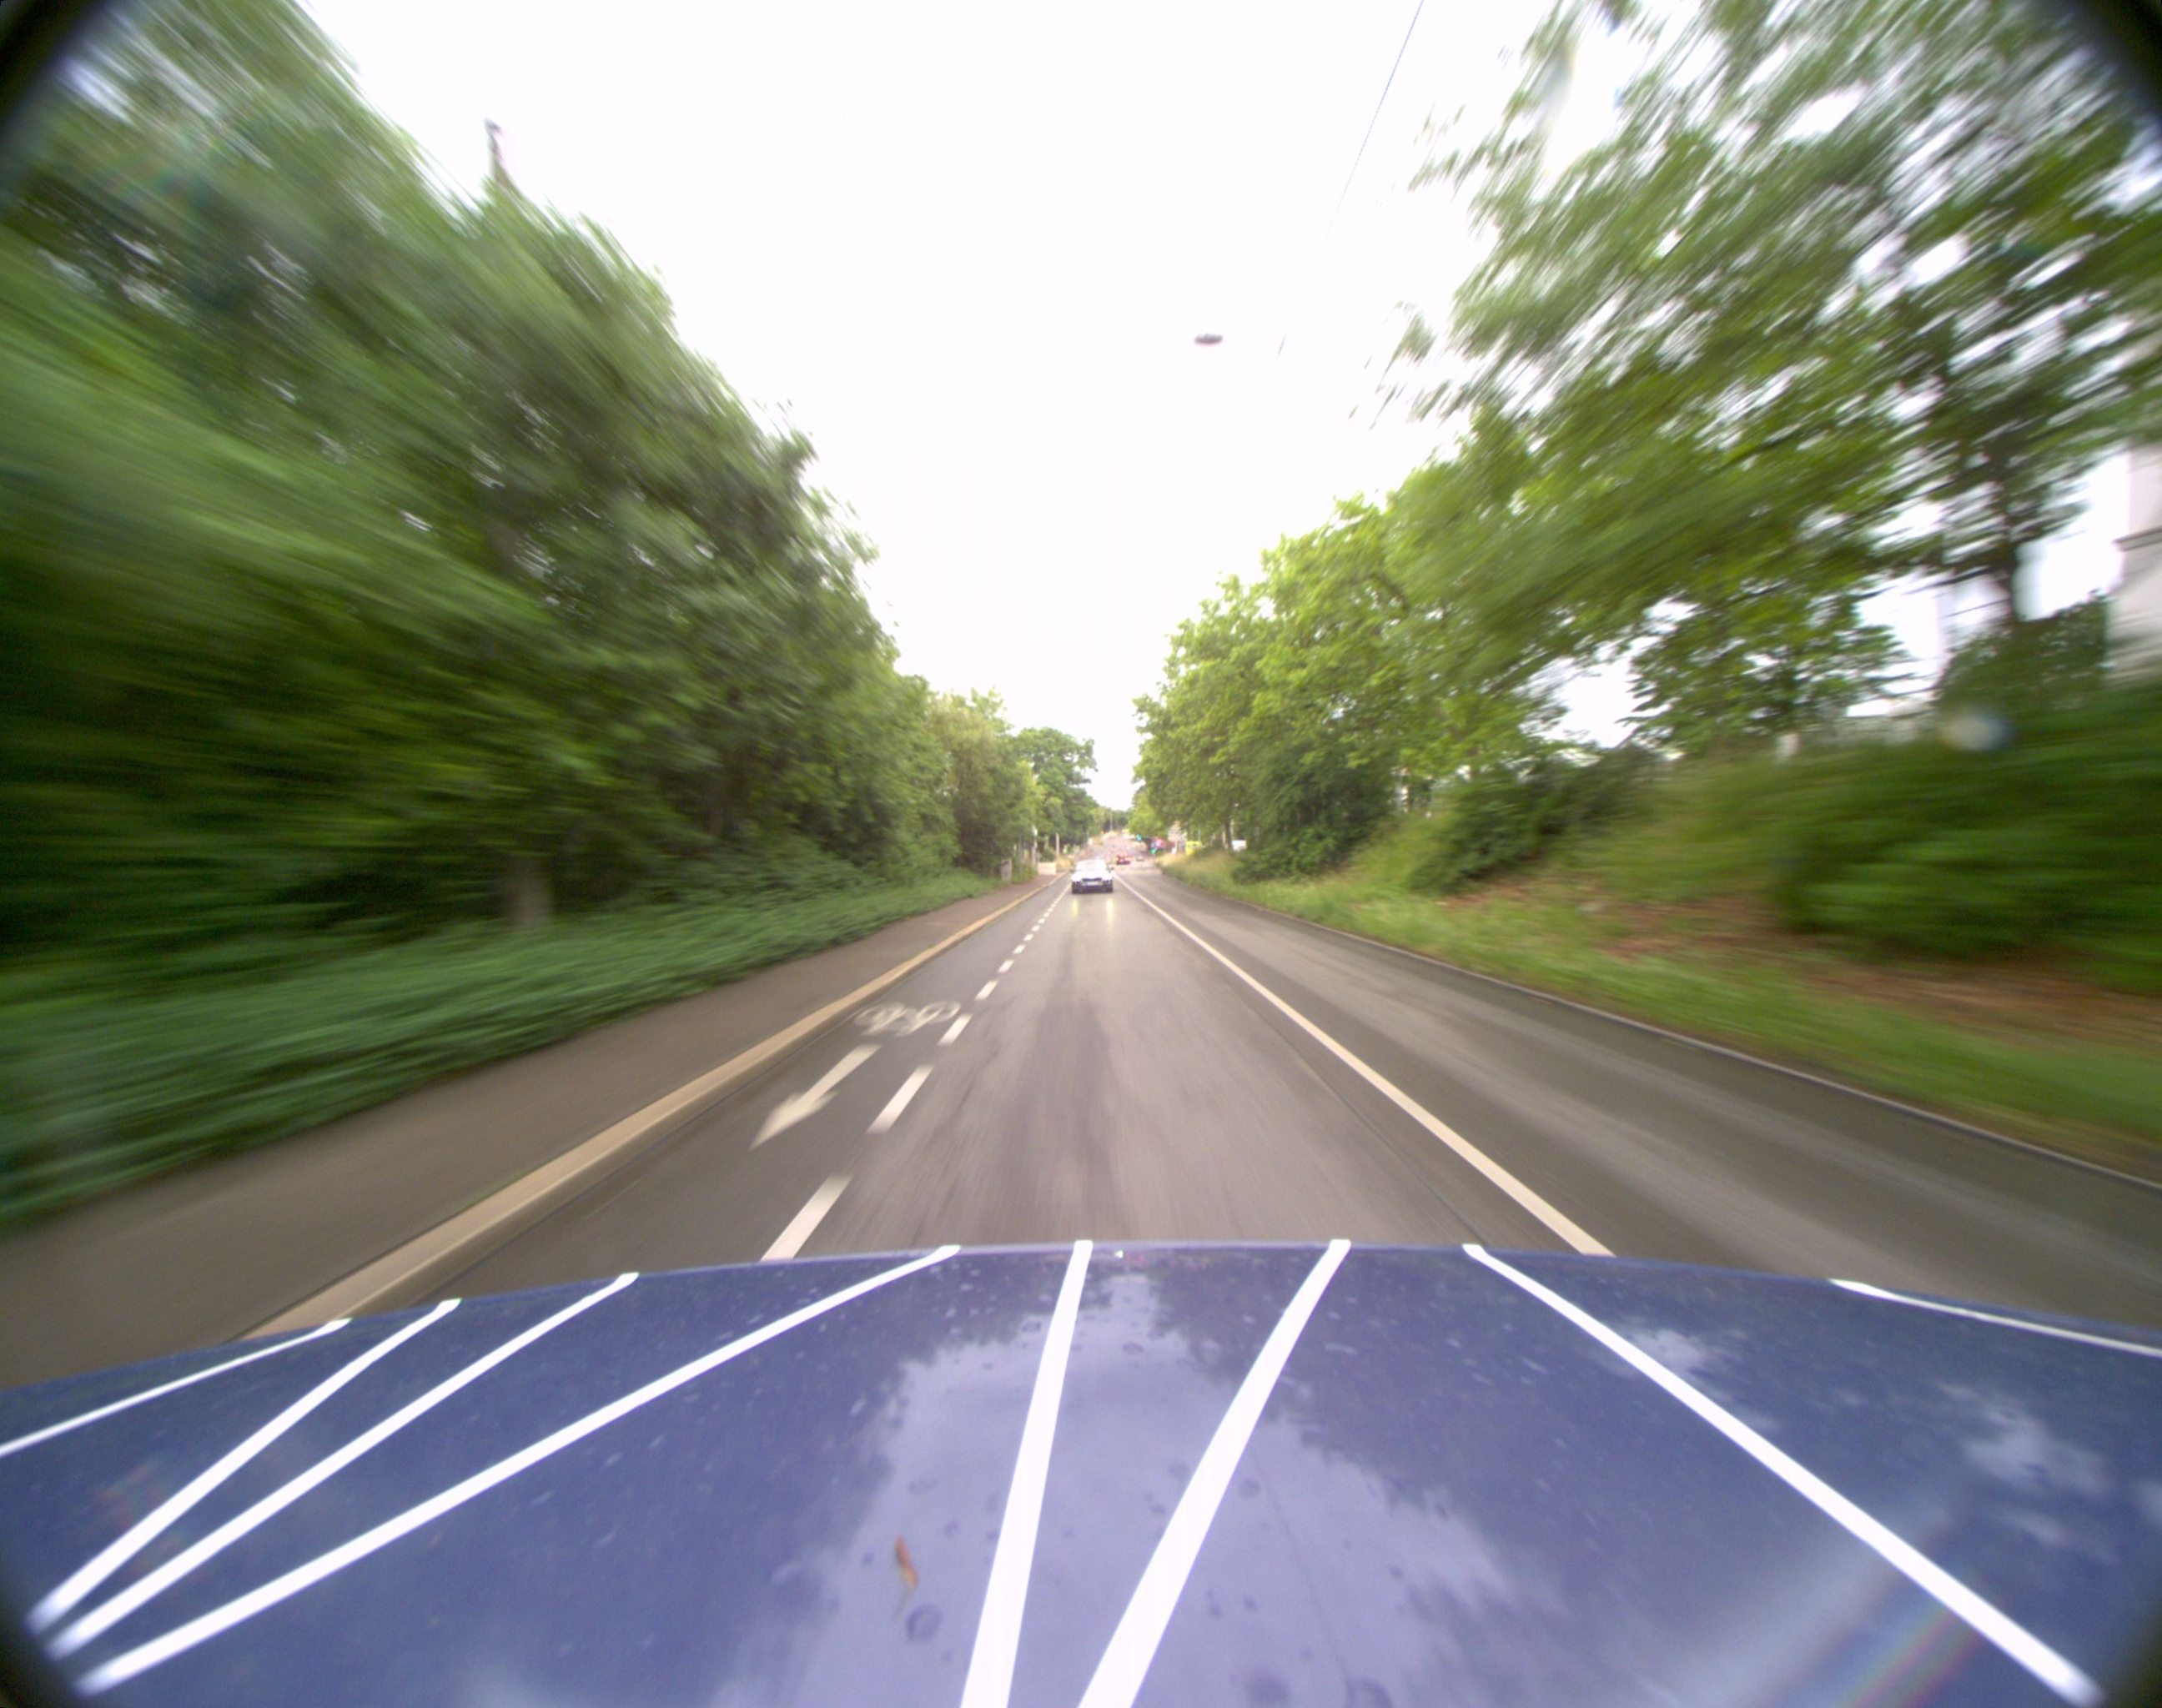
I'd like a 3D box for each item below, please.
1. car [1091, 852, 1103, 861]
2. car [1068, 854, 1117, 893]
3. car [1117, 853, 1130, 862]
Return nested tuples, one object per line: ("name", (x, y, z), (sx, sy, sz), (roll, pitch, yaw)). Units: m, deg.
("car", (2.872, 0.380, 135.984), (1.981, 1.497, 3.999), (-2, 1, 1))
("car", (0.516, 0.832, 33.733), (1.981, 1.497, 3.999), (-2, 1, 1))
("car", (7.657, 0.617, 136.803), (1.981, 1.497, 3.999), (-2, 1, 1))
